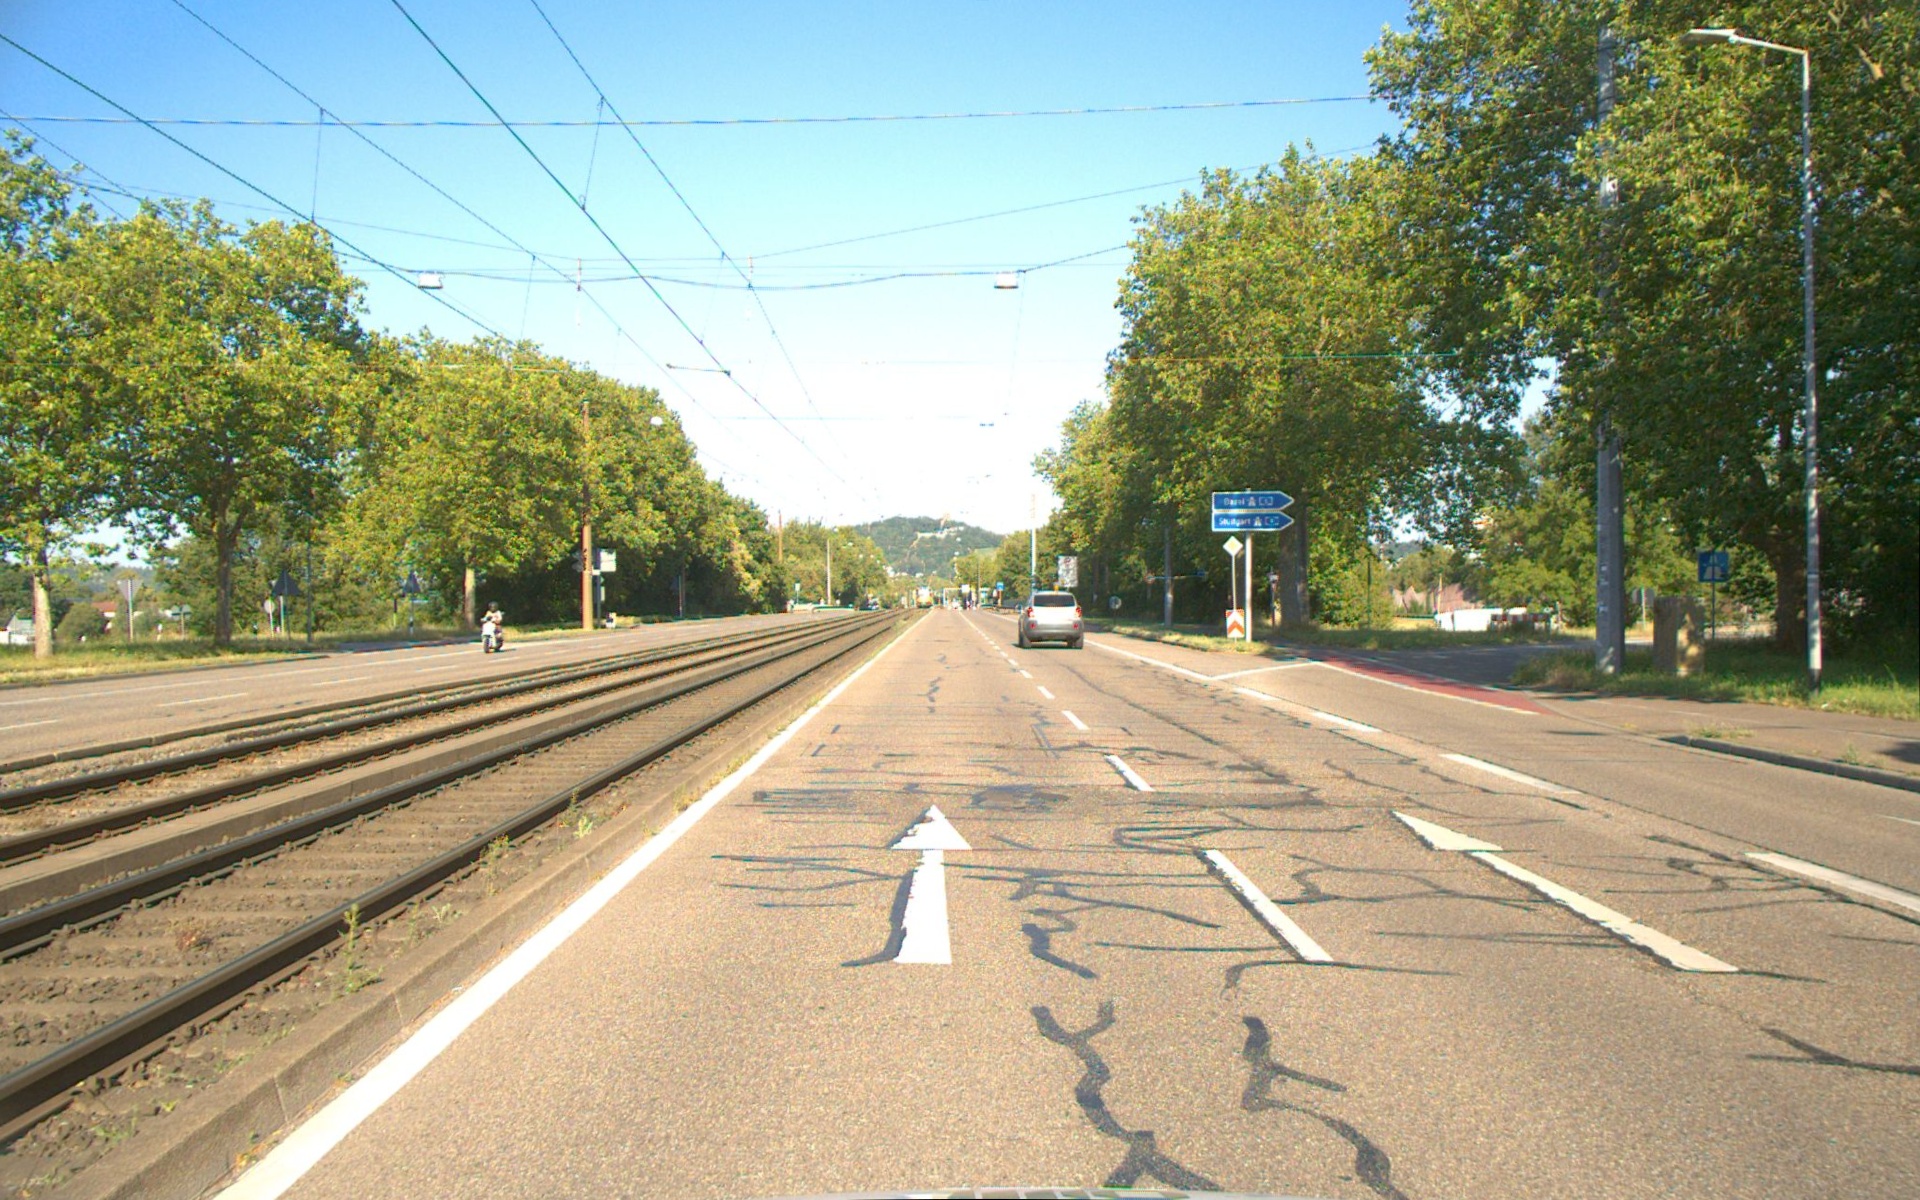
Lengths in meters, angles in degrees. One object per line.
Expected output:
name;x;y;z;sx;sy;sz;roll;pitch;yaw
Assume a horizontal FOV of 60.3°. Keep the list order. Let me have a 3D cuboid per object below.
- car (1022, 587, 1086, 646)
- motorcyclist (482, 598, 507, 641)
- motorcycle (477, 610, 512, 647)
car;2.825;0.498;50.519;1.849;1.723;4.257;0;0;2
motorcyclist;-14.378;0.597;51.080;0.525;1.292;0.805;1;0;-1
motorcycle;-14.383;0.882;51.126;0.525;1.110;1.902;1;0;-1
